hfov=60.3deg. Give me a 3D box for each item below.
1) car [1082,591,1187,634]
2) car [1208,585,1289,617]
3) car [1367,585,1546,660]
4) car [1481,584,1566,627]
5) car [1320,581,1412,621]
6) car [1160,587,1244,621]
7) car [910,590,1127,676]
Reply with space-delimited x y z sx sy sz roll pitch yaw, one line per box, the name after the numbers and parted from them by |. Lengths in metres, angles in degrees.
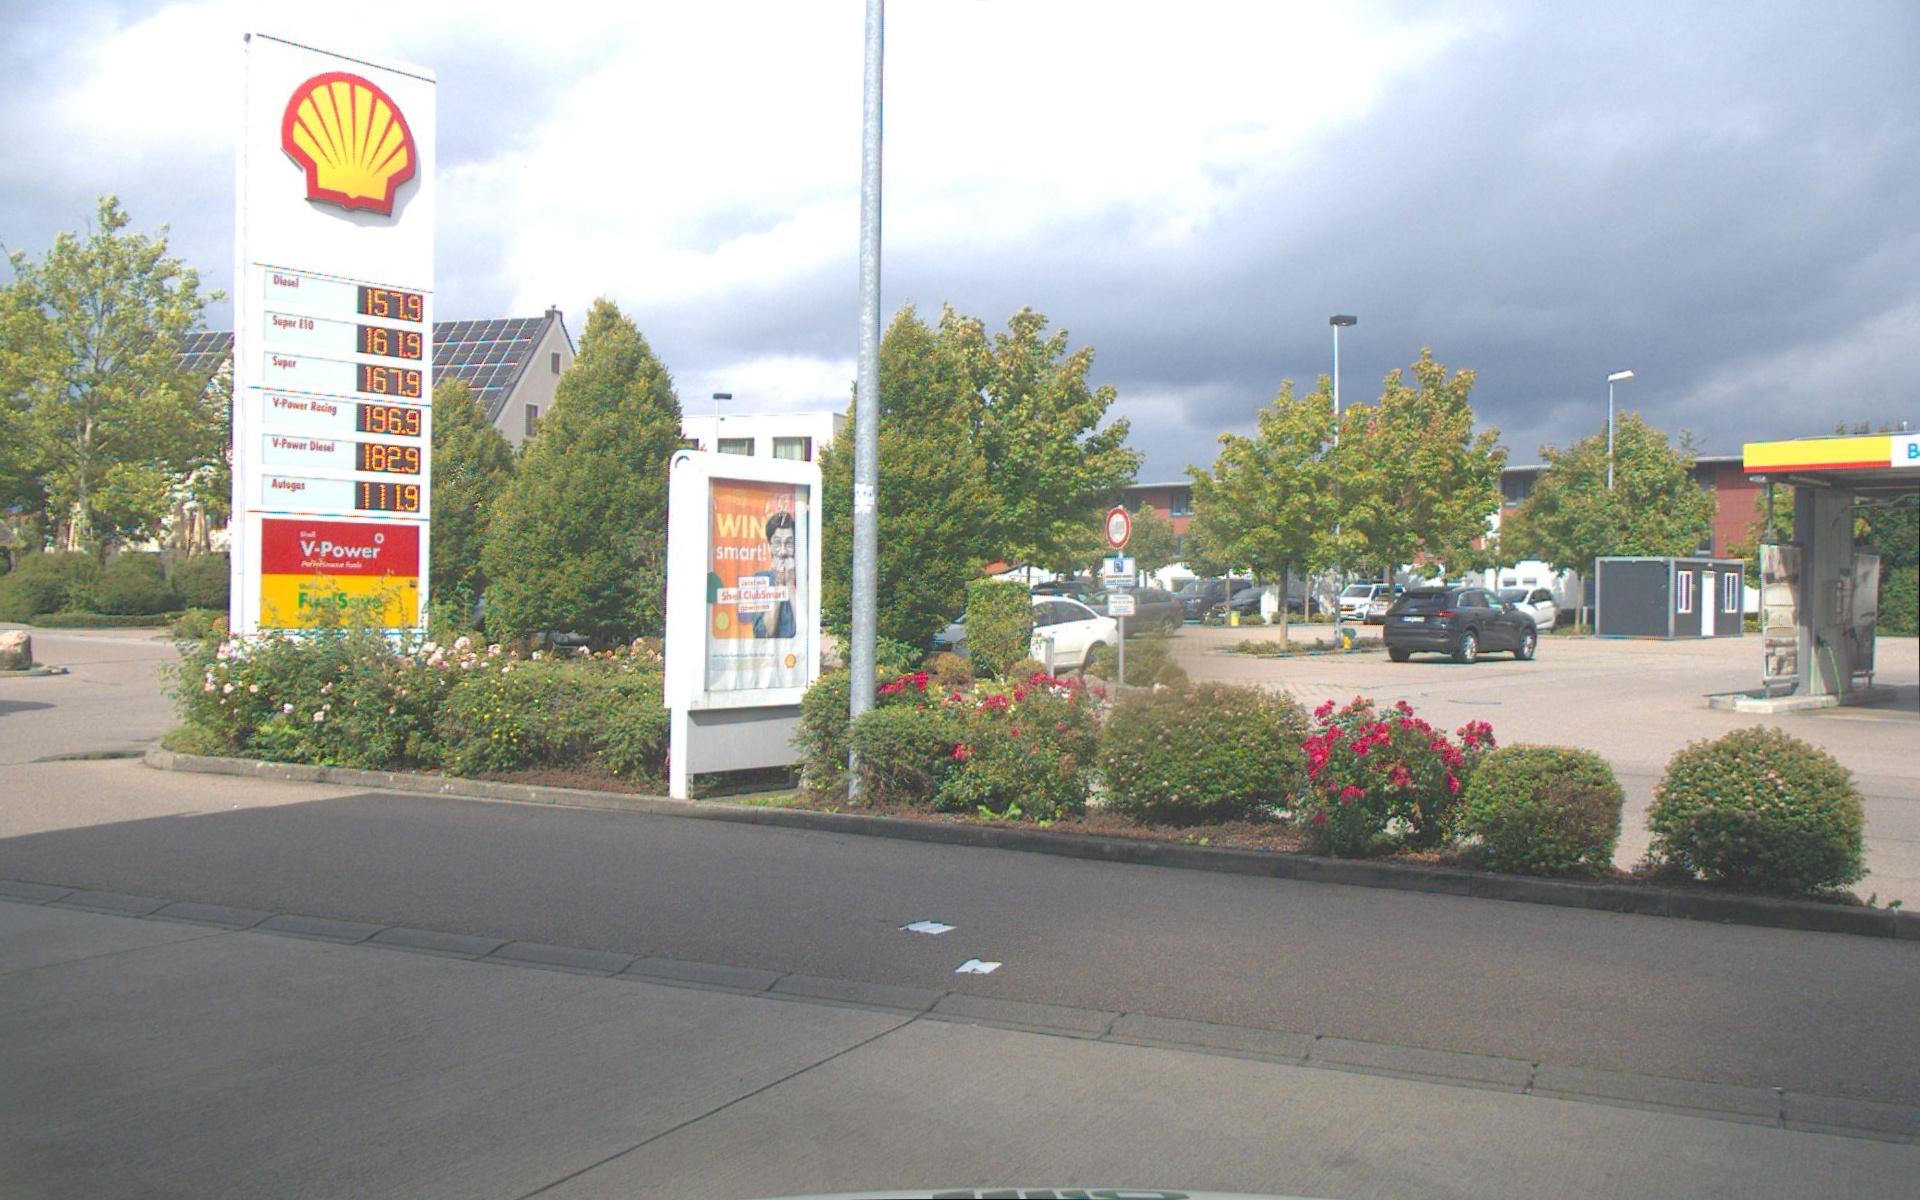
5.266 0.382 49.783 3.203 1.249 1.481 1 0 -45 | car
11.396 0.060 65.203 3.393 1.199 1.462 1 0 -45 | car
11.122 0.499 36.886 4.467 1.575 1.856 1 0 -44 | car
17.994 0.187 52.801 3.080 1.330 1.346 1 -1 -45 | car
19.894 0.058 80.941 4.839 1.865 2.150 1 0 -44 | car
9.794 0.163 66.924 3.364 1.343 1.719 1 0 -45 | car
1.126 0.587 29.926 1.348 1.428 4.312 1 -1 45 | car
